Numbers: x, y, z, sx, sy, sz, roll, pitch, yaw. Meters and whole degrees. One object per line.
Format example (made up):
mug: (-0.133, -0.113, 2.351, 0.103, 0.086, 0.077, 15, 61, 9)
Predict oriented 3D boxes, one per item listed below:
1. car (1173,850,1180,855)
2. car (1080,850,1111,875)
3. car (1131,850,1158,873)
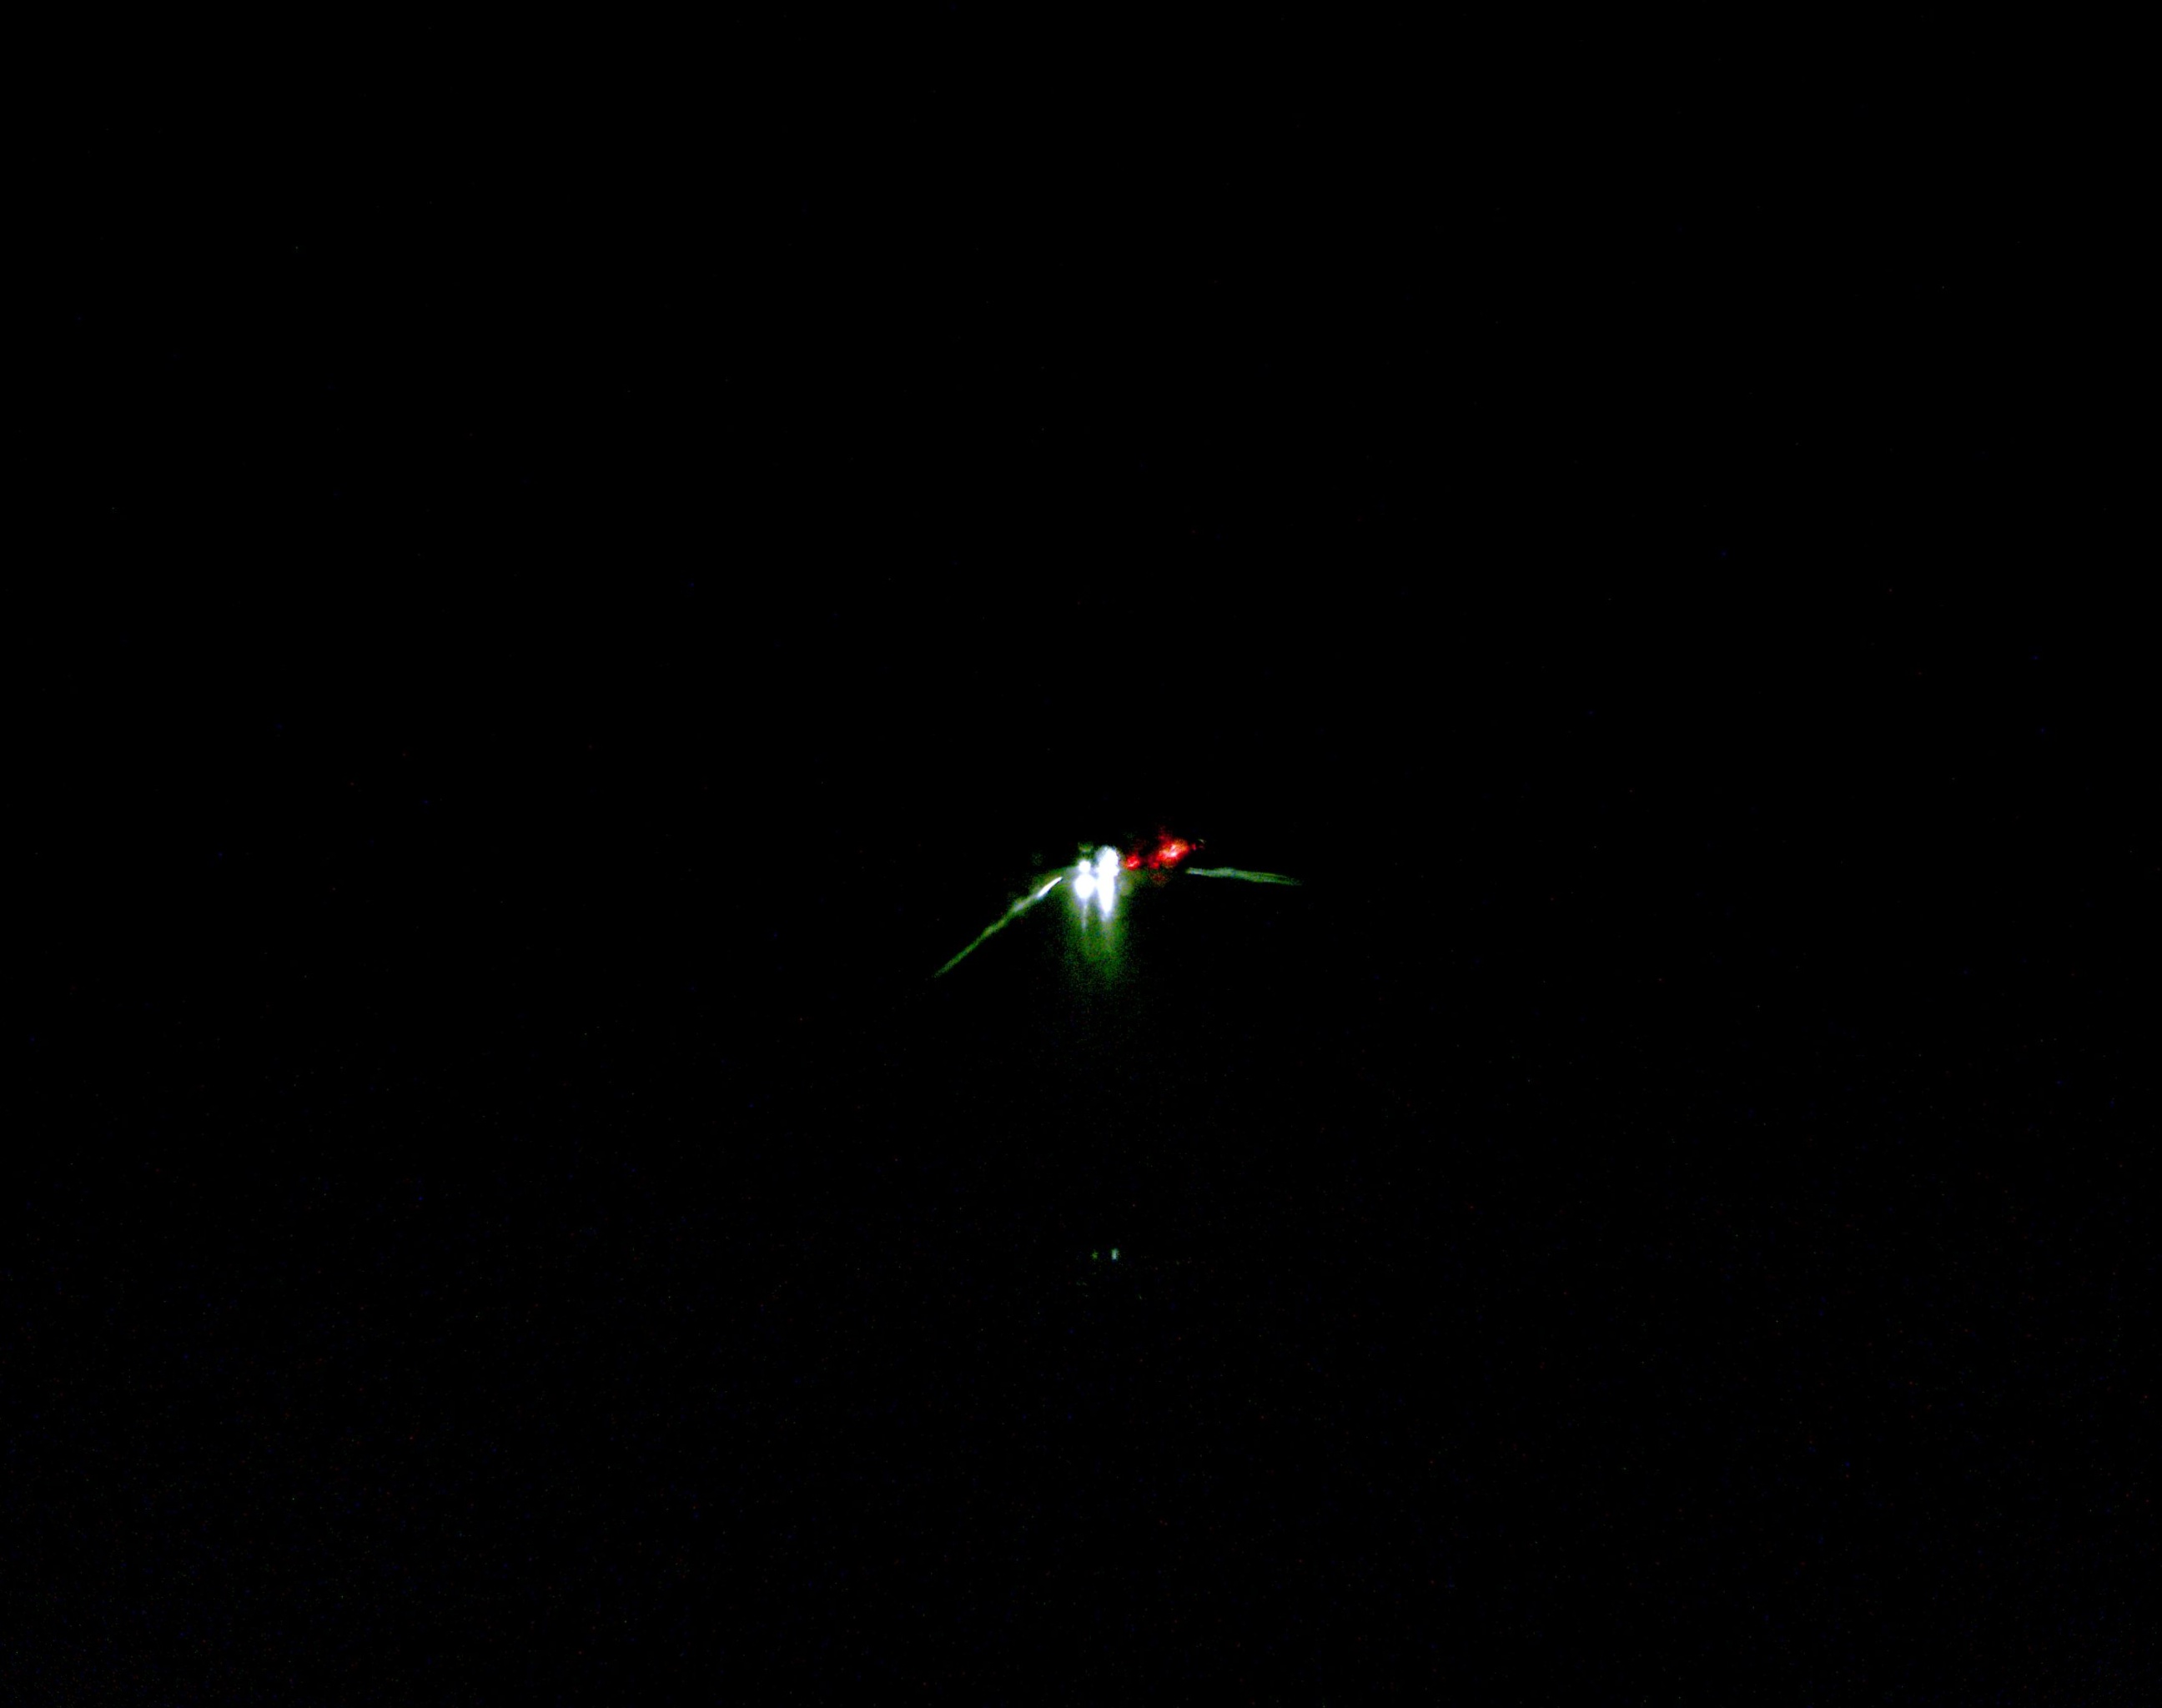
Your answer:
car: (28.602, -0.422, 226.846, 1.834, 1.545, 4.444, -2, 0, 8)
car: (1.120, 0.634, 56.737, 1.998, 1.804, 4.001, -1, 0, 4)
car: (4.676, 0.554, 56.394, 1.726, 1.603, 4.002, -1, 0, 1)
